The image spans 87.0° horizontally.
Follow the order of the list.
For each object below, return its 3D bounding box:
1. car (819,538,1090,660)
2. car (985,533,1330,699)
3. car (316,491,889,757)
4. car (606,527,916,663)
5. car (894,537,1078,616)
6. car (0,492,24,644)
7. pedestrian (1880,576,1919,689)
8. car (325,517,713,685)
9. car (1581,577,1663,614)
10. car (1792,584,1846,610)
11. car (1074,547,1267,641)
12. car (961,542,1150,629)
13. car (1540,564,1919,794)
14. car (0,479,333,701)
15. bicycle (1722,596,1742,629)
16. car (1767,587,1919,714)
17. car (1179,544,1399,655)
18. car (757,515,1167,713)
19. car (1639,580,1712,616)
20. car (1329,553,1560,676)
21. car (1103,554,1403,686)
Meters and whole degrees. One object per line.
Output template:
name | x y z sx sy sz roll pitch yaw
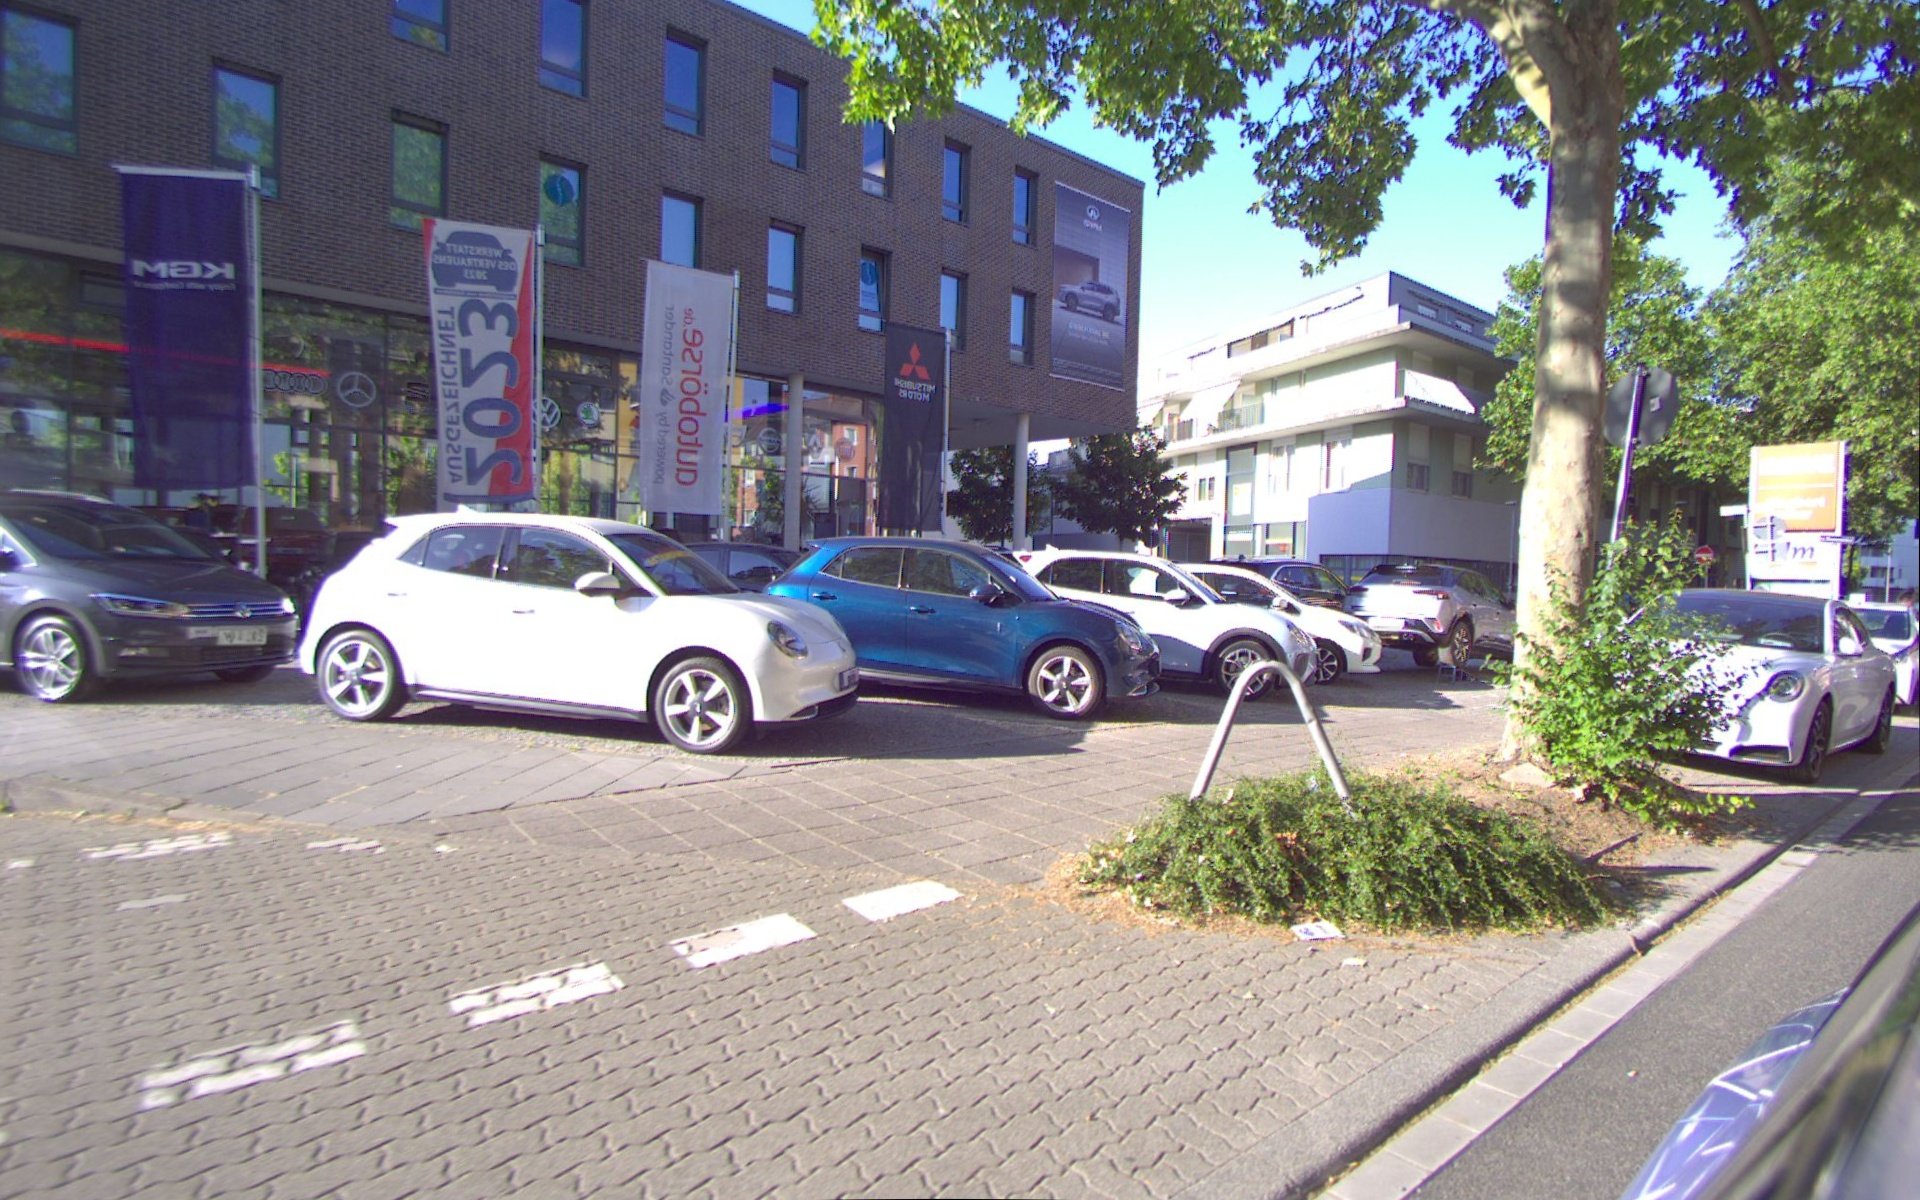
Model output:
car | -0.050 -0.066 15.280 3.766 1.529 1.636 3 2 16
car | 2.373 0.106 12.198 3.770 1.629 1.731 3 2 19
car | -2.613 0.088 7.752 3.760 1.598 1.741 3 2 12
car | -2.650 -0.118 13.706 3.766 1.529 1.636 3 2 16
car | 0.677 -0.563 24.475 4.105 1.755 1.991 0 2 -39
car | -12.400 -0.343 10.273 1.836 1.773 3.990 2 2 10
pedestrian | 15.305 0.505 16.038 0.708 1.744 0.694 2 2 0
car | -4.859 -0.053 11.272 3.766 1.529 1.636 3 2 16
car | 28.410 -0.199 43.391 4.052 1.486 1.863 0 2 -41
car | 56.156 -0.183 66.137 4.242 1.561 1.864 0 2 -39
car | 4.355 -0.146 20.645 4.109 1.705 1.730 0 2 -42
car | 2.186 -0.335 22.478 4.108 1.755 1.879 0 2 -42
car | 7.370 0.529 9.437 4.501 1.557 1.816 -1 5 -39
car | -7.822 -0.152 8.635 4.076 1.621 1.768 1 2 10
bicycle | 25.103 0.408 32.901 0.381 1.016 1.468 3 2 34
car | 13.110 0.616 14.522 3.951 1.485 1.639 -1 4 -41
car | 5.999 -0.050 18.193 4.293 1.753 1.829 0 2 -42
car | 0.097 0.061 10.125 3.763 1.598 1.735 3 2 14
car | 33.903 -0.100 47.907 3.691 1.572 1.864 0 2 -39
car | 7.780 0.170 16.101 4.084 1.690 1.756 0 2 -40
car | 4.030 0.209 14.190 3.768 1.564 1.654 2 2 18
